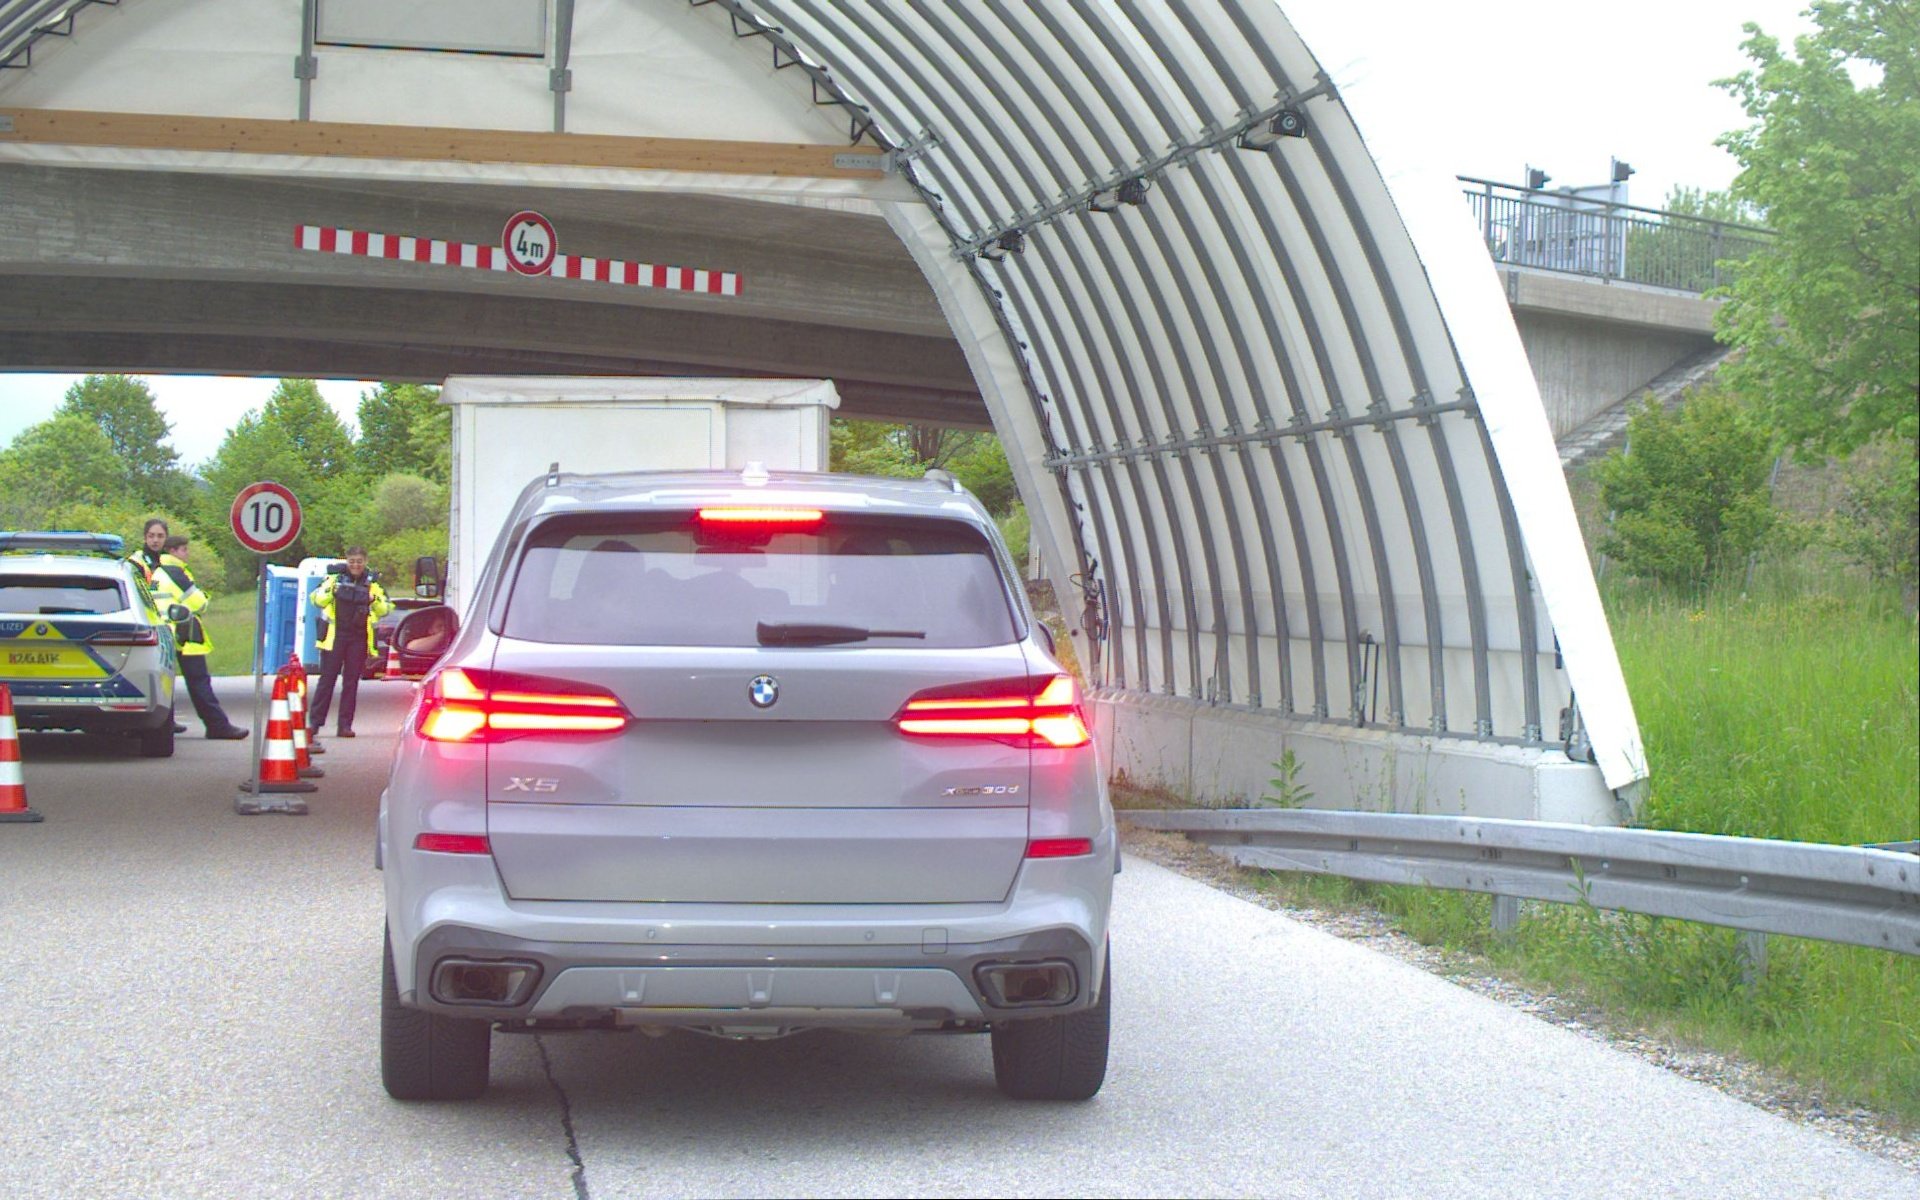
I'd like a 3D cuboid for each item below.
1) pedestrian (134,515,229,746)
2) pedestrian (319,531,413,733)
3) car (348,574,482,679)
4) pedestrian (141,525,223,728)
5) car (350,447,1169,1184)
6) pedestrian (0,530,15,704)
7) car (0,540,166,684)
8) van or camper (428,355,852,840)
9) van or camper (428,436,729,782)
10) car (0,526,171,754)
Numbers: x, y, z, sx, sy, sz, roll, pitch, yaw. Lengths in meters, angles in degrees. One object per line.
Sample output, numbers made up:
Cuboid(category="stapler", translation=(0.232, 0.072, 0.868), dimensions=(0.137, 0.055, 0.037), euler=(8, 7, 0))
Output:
Cuboid(category="pedestrian", translation=(-6.557, 0.246, 28.936), dimensions=(0.749, 1.912, 0.763), euler=(0, 0, -15))
Cuboid(category="pedestrian", translation=(-5.128, 0.271, 29.716), dimensions=(0.779, 1.716, 0.757), euler=(0, 0, -9))
Cuboid(category="car", translation=(-9.322, 0.417, 58.620), dimensions=(1.993, 1.716, 3.897), euler=(0, 0, -13))
Cuboid(category="pedestrian", translation=(-6.770, 0.226, 29.930), dimensions=(0.609, 1.748, 0.666), euler=(0, 0, -6))
Cuboid(category="car", translation=(-0.787, 0.496, 10.343), dimensions=(1.993, 1.759, 4.001), euler=(0, 0, -9))
Cuboid(category="pedestrian", translation=(-11.432, 0.196, 39.969), dimensions=(0.701, 2.007, 0.692), euler=(0, 0, -1))
Cuboid(category="car", translation=(-13.941, 0.158, 48.948), dimensions=(4.807, 2.007, 1.840), euler=(0, 0, 7))
Cuboid(category="van or camper", translation=(-2.183, -0.041, 21.461), dimensions=(2.229, 2.543, 6.612), euler=(0, 0, -9))
Cuboid(category="van or camper", translation=(-3.198, 0.045, 27.817), dimensions=(2.103, 2.510, 5.552), euler=(0, 0, -10))
Cuboid(category="car", translation=(-7.160, 0.277, 26.751), dimensions=(1.877, 1.641, 4.001), euler=(0, 0, -15))
